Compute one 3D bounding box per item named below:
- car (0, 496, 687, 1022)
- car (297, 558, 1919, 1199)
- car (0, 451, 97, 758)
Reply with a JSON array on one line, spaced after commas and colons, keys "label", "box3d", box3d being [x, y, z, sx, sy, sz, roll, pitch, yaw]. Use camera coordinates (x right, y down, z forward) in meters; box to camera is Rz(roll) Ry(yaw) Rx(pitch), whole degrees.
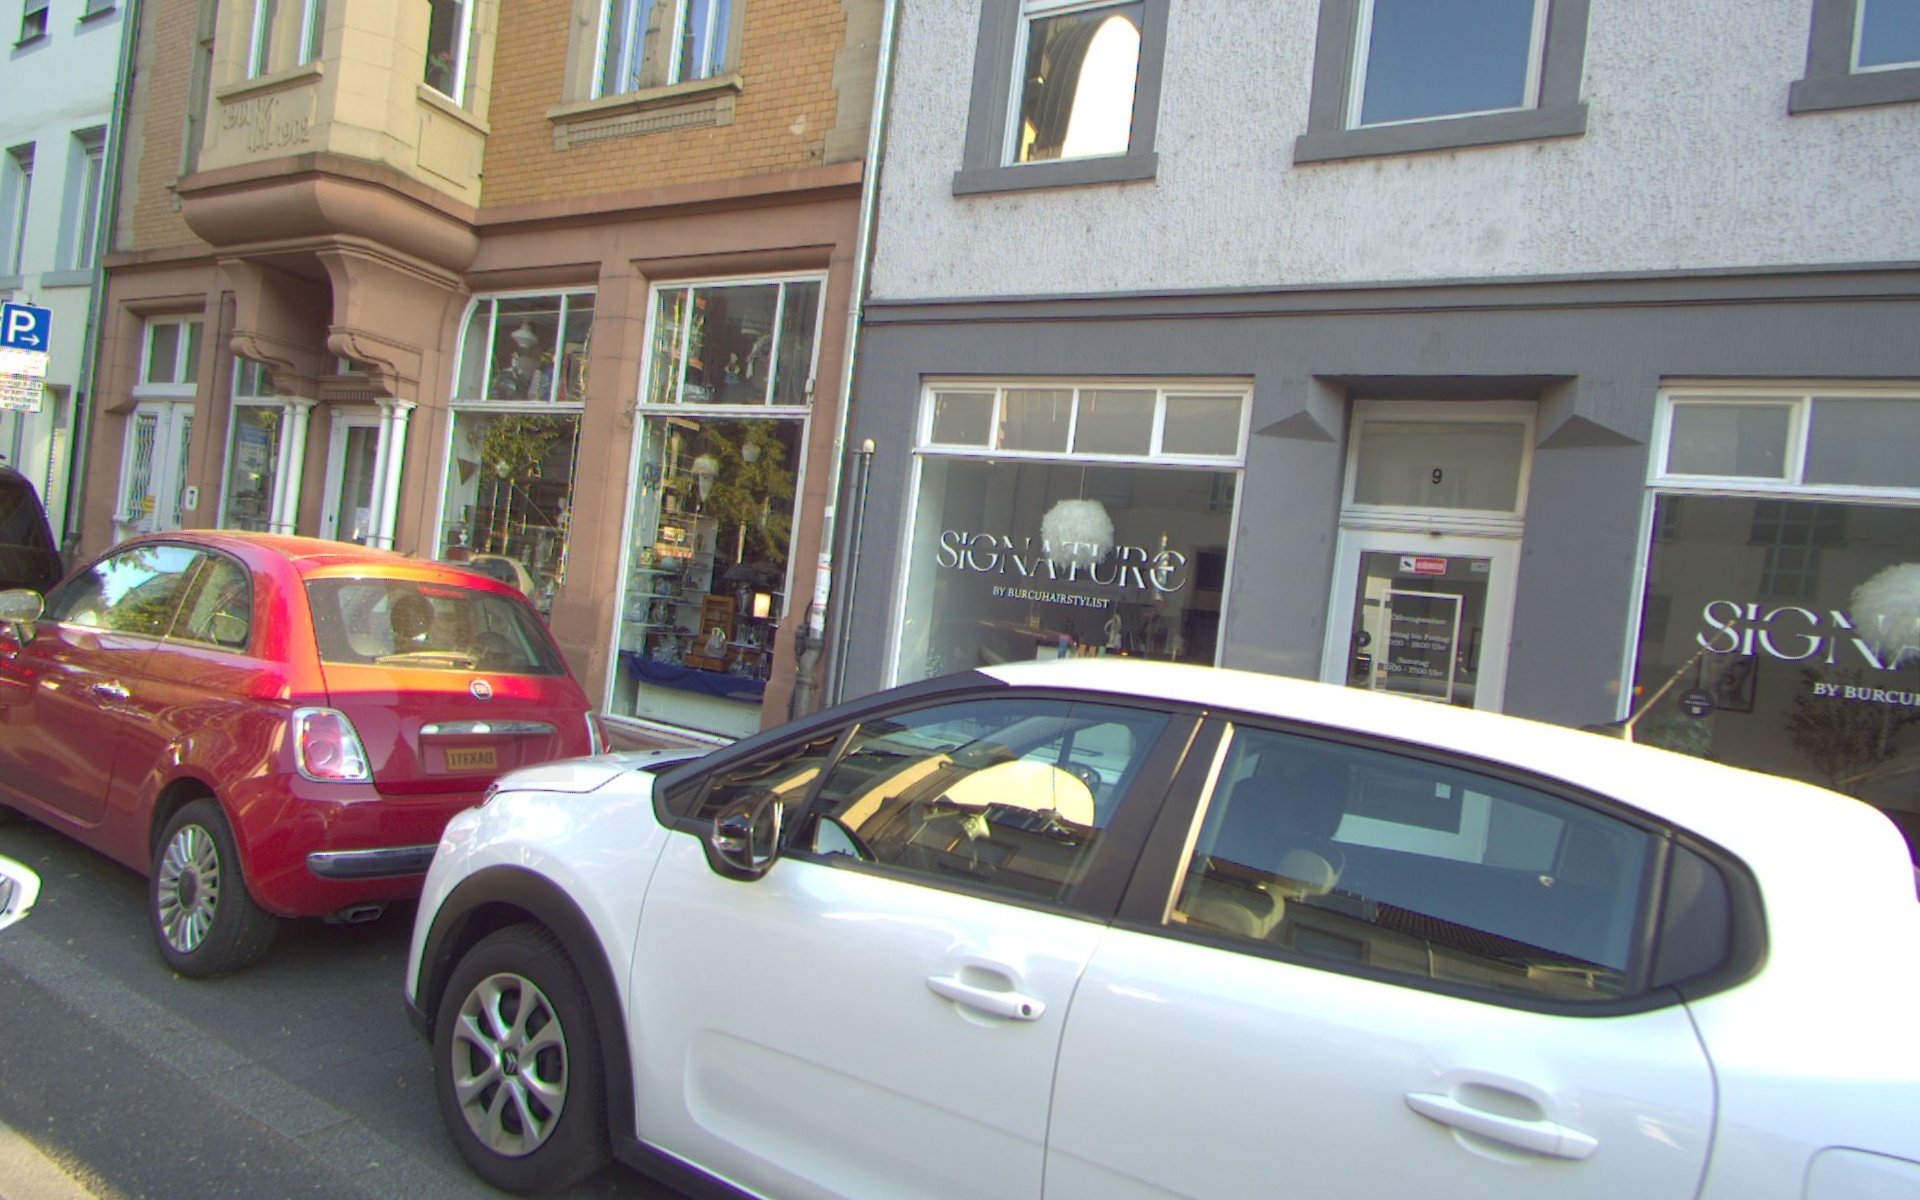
[{"label": "car", "box3d": [-3.059, 0.456, 4.534, 3.211, 1.501, 1.591, 6, -2, 30]}, {"label": "car", "box3d": [0.296, 0.830, 2.583, 3.737, 1.394, 1.671, 6, -2, 29]}, {"label": "car", "box3d": [-7.521, -0.226, 6.030, 4.291, 1.714, 1.831, 6, -2, 25]}]
